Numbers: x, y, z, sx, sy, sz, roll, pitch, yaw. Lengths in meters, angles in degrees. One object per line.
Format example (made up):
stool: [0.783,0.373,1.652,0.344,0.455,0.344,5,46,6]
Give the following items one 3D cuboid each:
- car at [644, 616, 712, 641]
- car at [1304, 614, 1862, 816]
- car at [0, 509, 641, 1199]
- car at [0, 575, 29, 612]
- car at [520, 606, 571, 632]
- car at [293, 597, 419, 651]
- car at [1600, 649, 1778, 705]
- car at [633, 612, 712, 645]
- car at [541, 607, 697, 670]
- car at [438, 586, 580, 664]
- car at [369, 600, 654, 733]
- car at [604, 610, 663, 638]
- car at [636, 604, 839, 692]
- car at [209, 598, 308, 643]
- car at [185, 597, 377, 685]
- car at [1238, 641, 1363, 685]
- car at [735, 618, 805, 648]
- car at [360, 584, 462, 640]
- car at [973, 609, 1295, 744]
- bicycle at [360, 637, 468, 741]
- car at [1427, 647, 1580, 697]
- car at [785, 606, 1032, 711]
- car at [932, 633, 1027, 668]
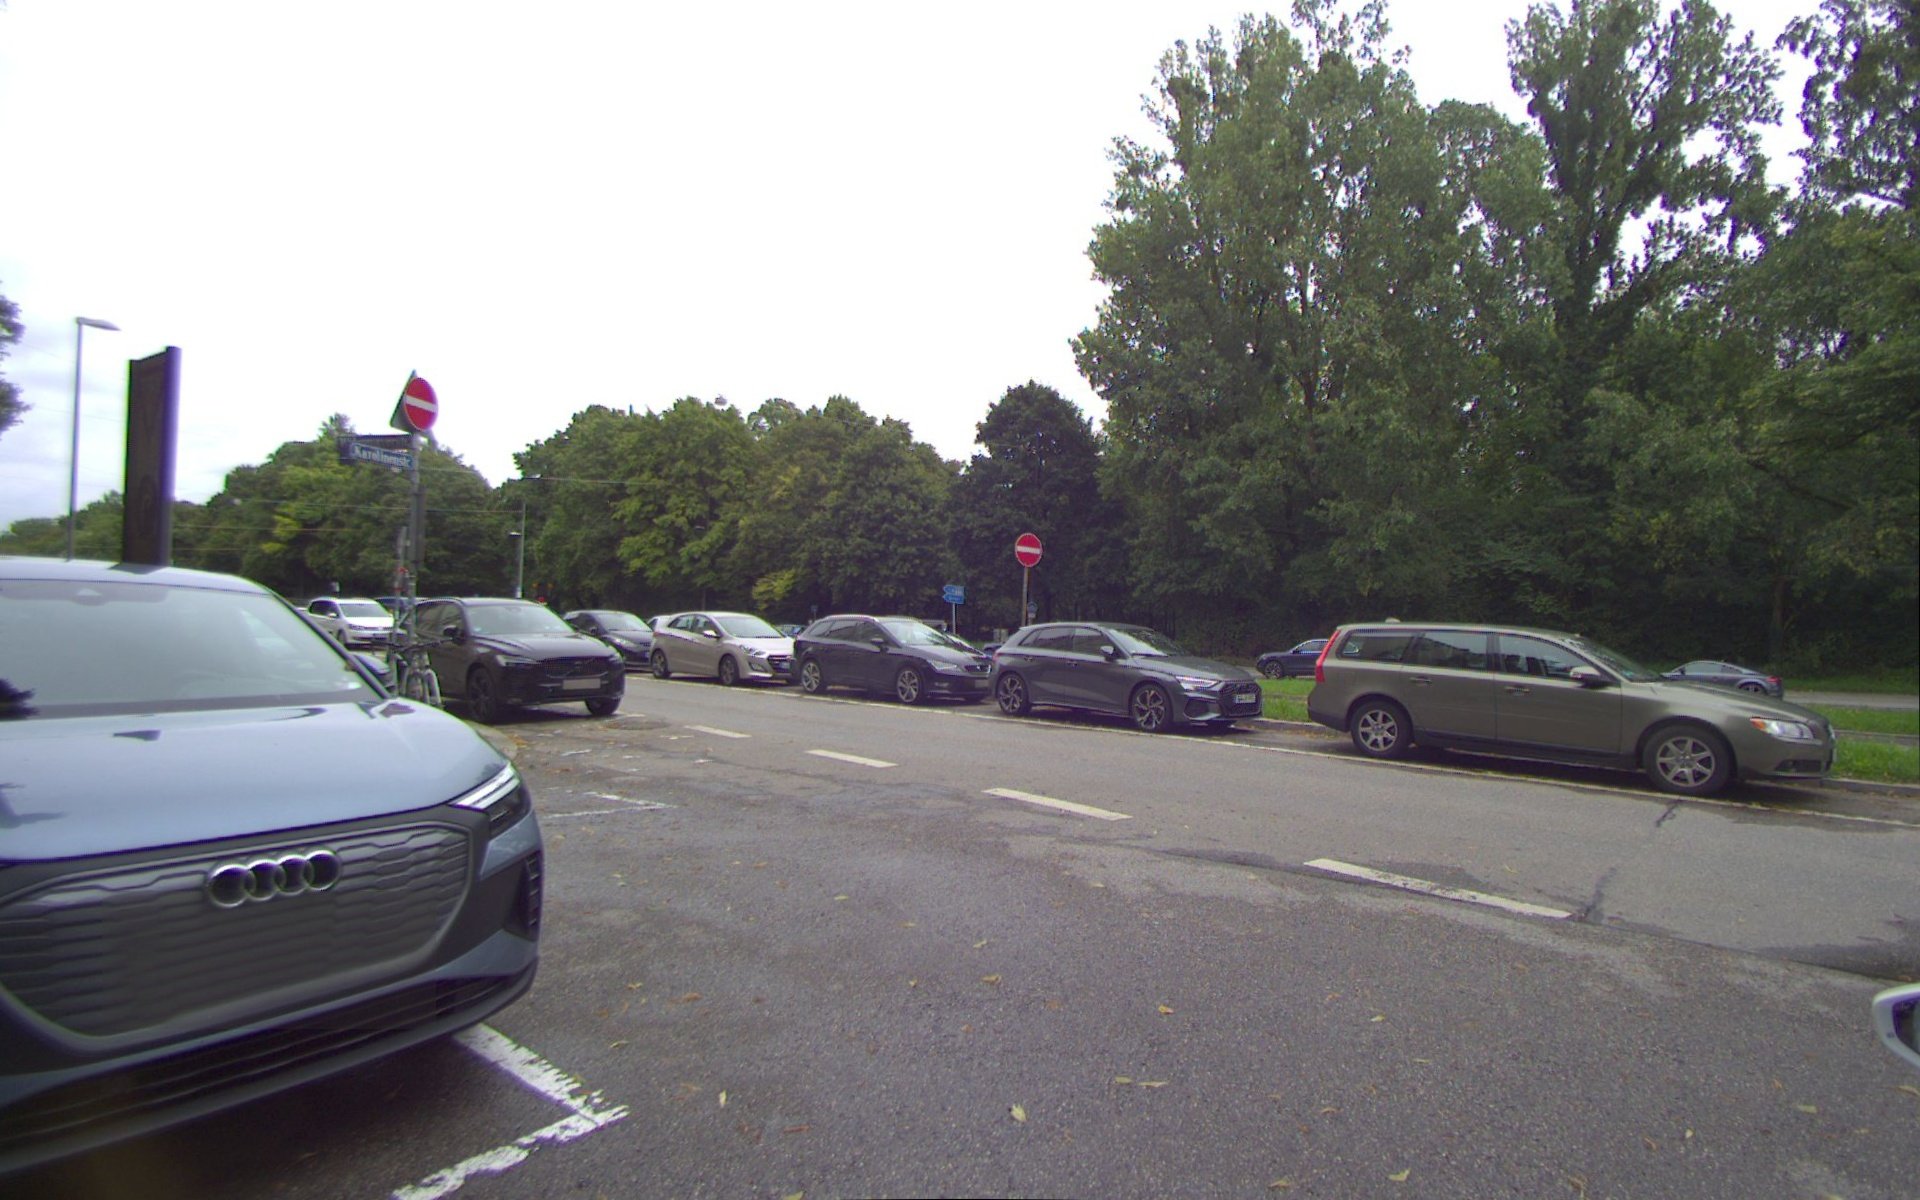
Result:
car: [-18.270,1.827,65.031,4.248,1.465,1.993,1,-2,37]
car: [6.320,1.003,10.643,1.892,1.586,4.708,3,-2,-44]
car: [-3.191,0.611,3.609,4.178,1.586,1.819,1,-1,38]
car: [-60.222,-0.419,63.079,4.481,2.240,1.851,1,-1,38]
car: [-31.053,1.419,75.219,3.940,1.769,1.877,1,-1,40]
car: [-21.140,0.822,35.097,5.010,1.725,2.068,1,-1,38]
car: [23.110,2.409,31.998,4.453,1.465,1.993,1,-2,37]
car: [-14.031,1.367,48.934,3.944,1.465,1.989,1,-2,43]
car: [-8.593,0.930,25.148,4.218,1.388,1.760,1,-1,40]
car: [-12.833,0.692,28.501,3.936,2.040,1.993,1,-1,37]
car: [-6.564,0.818,14.481,4.441,1.586,2.120,1,0,42]
car: [-22.172,1.637,68.115,3.940,1.769,1.991,1,-1,40]
car: [-4.713,0.941,21.020,4.218,1.586,1.984,1,-1,40]
car: [-29.122,0.830,41.649,4.487,1.725,2.068,0,-2,38]
car: [-14.030,0.759,20.677,4.438,1.586,2.121,1,0,40]
car: [13.364,2.448,39.531,4.248,1.465,1.993,1,-2,37]
car: [-11.172,1.931,58.873,3.939,1.578,1.904,2,0,40]
car: [-27.120,0.574,49.513,5.758,2.496,2.183,2,0,37]
car: [2.376,0.984,14.497,1.980,1.586,4.227,3,-2,-44]
bicycle: [-6.274,0.984,11.505,0.629,1.051,1.713,4,-2,-43]
car: [19.033,2.489,35.245,4.453,1.465,1.993,1,-2,37]
car: [-1.006,0.958,17.875,4.222,1.586,1.983,1,-2,43]
car: [0.912,2.452,49.000,4.248,1.465,1.993,1,-2,37]
